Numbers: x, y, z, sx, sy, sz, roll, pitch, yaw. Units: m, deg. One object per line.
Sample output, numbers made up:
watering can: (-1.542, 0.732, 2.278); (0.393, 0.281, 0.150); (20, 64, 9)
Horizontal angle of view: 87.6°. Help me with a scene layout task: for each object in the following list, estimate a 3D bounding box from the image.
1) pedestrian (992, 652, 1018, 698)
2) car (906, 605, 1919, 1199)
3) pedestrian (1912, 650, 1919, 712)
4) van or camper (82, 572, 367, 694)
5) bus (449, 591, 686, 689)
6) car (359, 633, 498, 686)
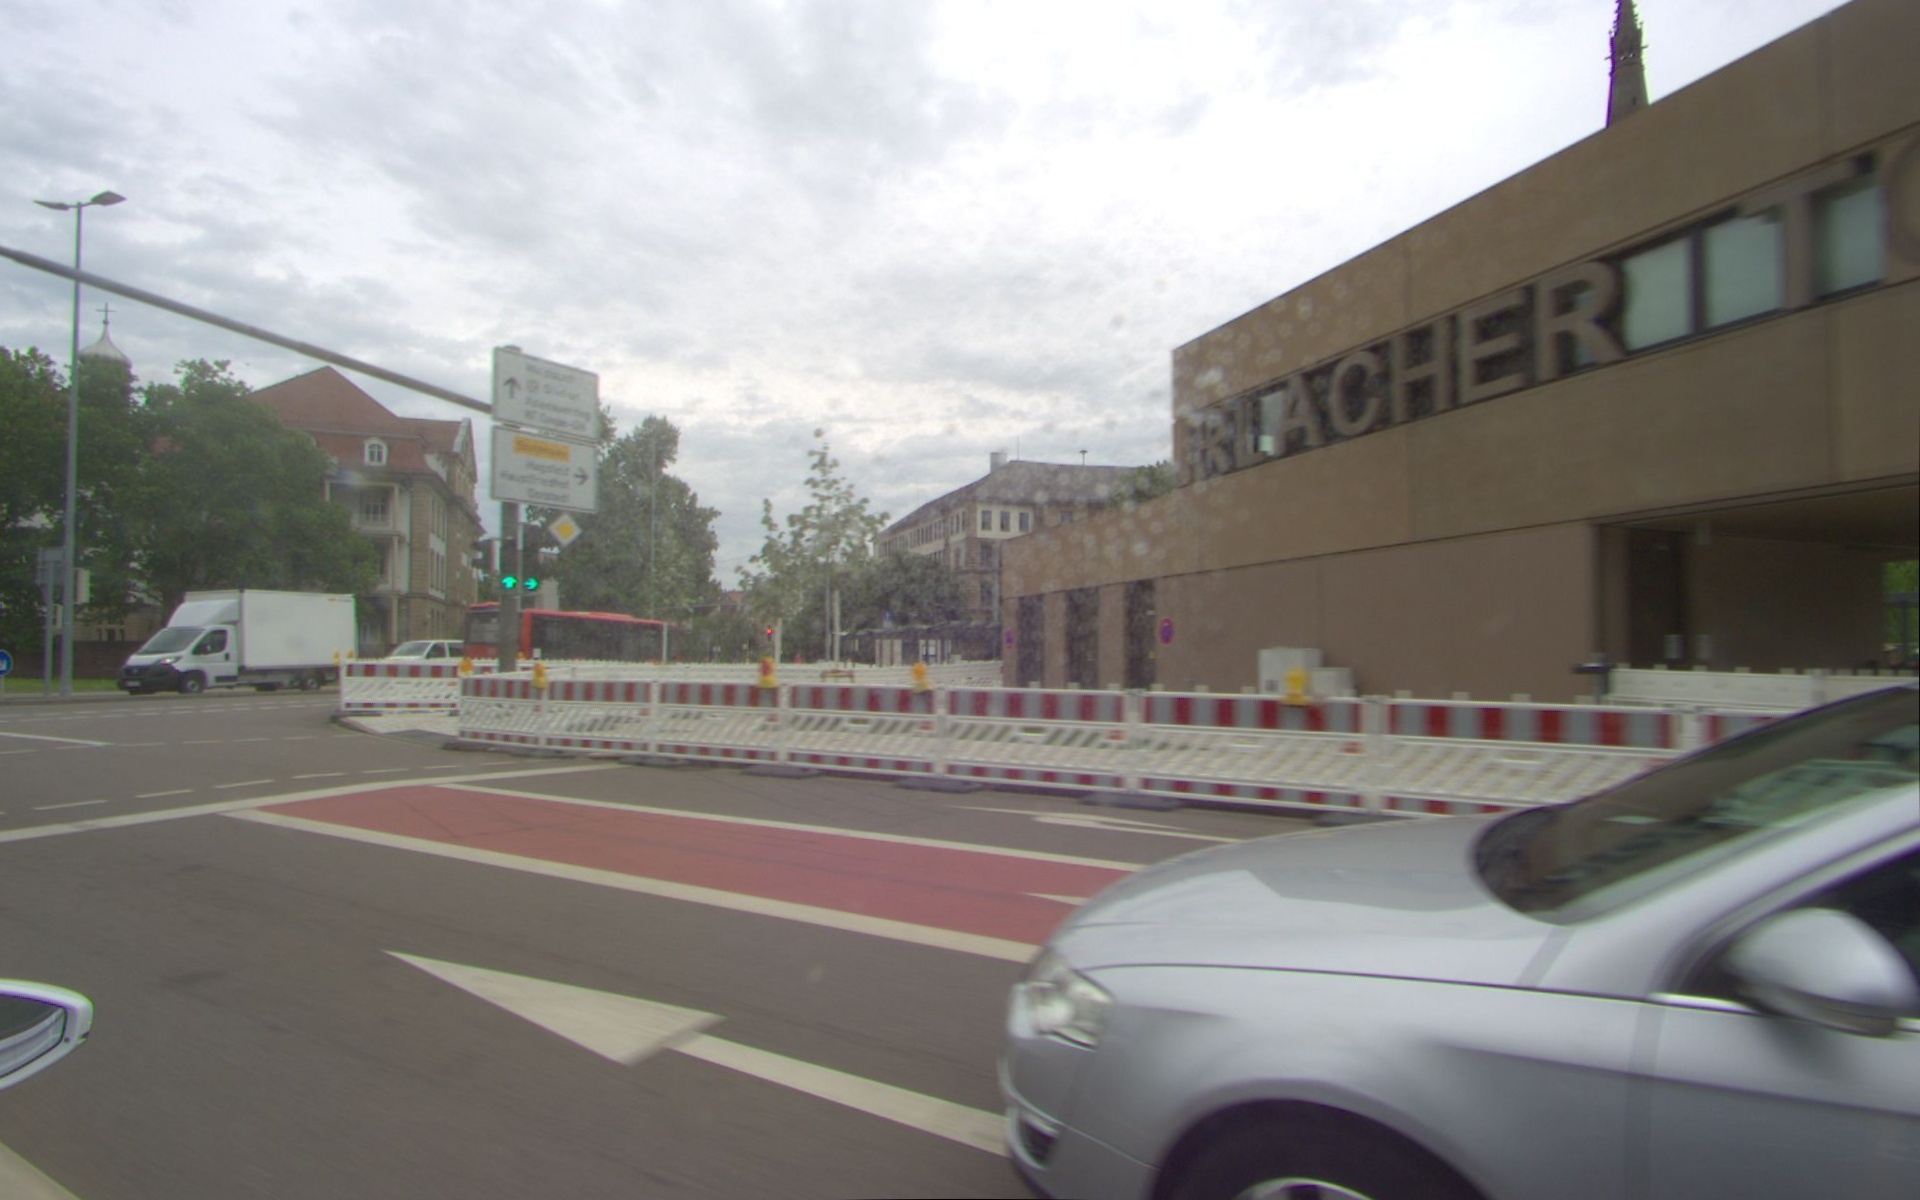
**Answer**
pedestrian: (1.754, 2.909, 39.095); (0.691, 1.783, 0.758); (2, -3, -45)
car: (2.257, 0.765, 1.642); (4.563, 1.501, 1.717); (-2, -2, 33)
pedestrian: (26.272, 2.179, 26.753); (0.771, 1.665, 0.919); (1, -2, -16)
van or camper: (-22.878, 1.144, 31.784); (2.824, 3.373, 7.151); (-2, -3, 14)
bus: (-15.226, 1.760, 40.634); (3.010, 3.338, 12.386); (0, -3, 9)
car: (-20.879, 2.344, 39.612); (1.964, 1.886, 5.004); (-4, -4, 14)
